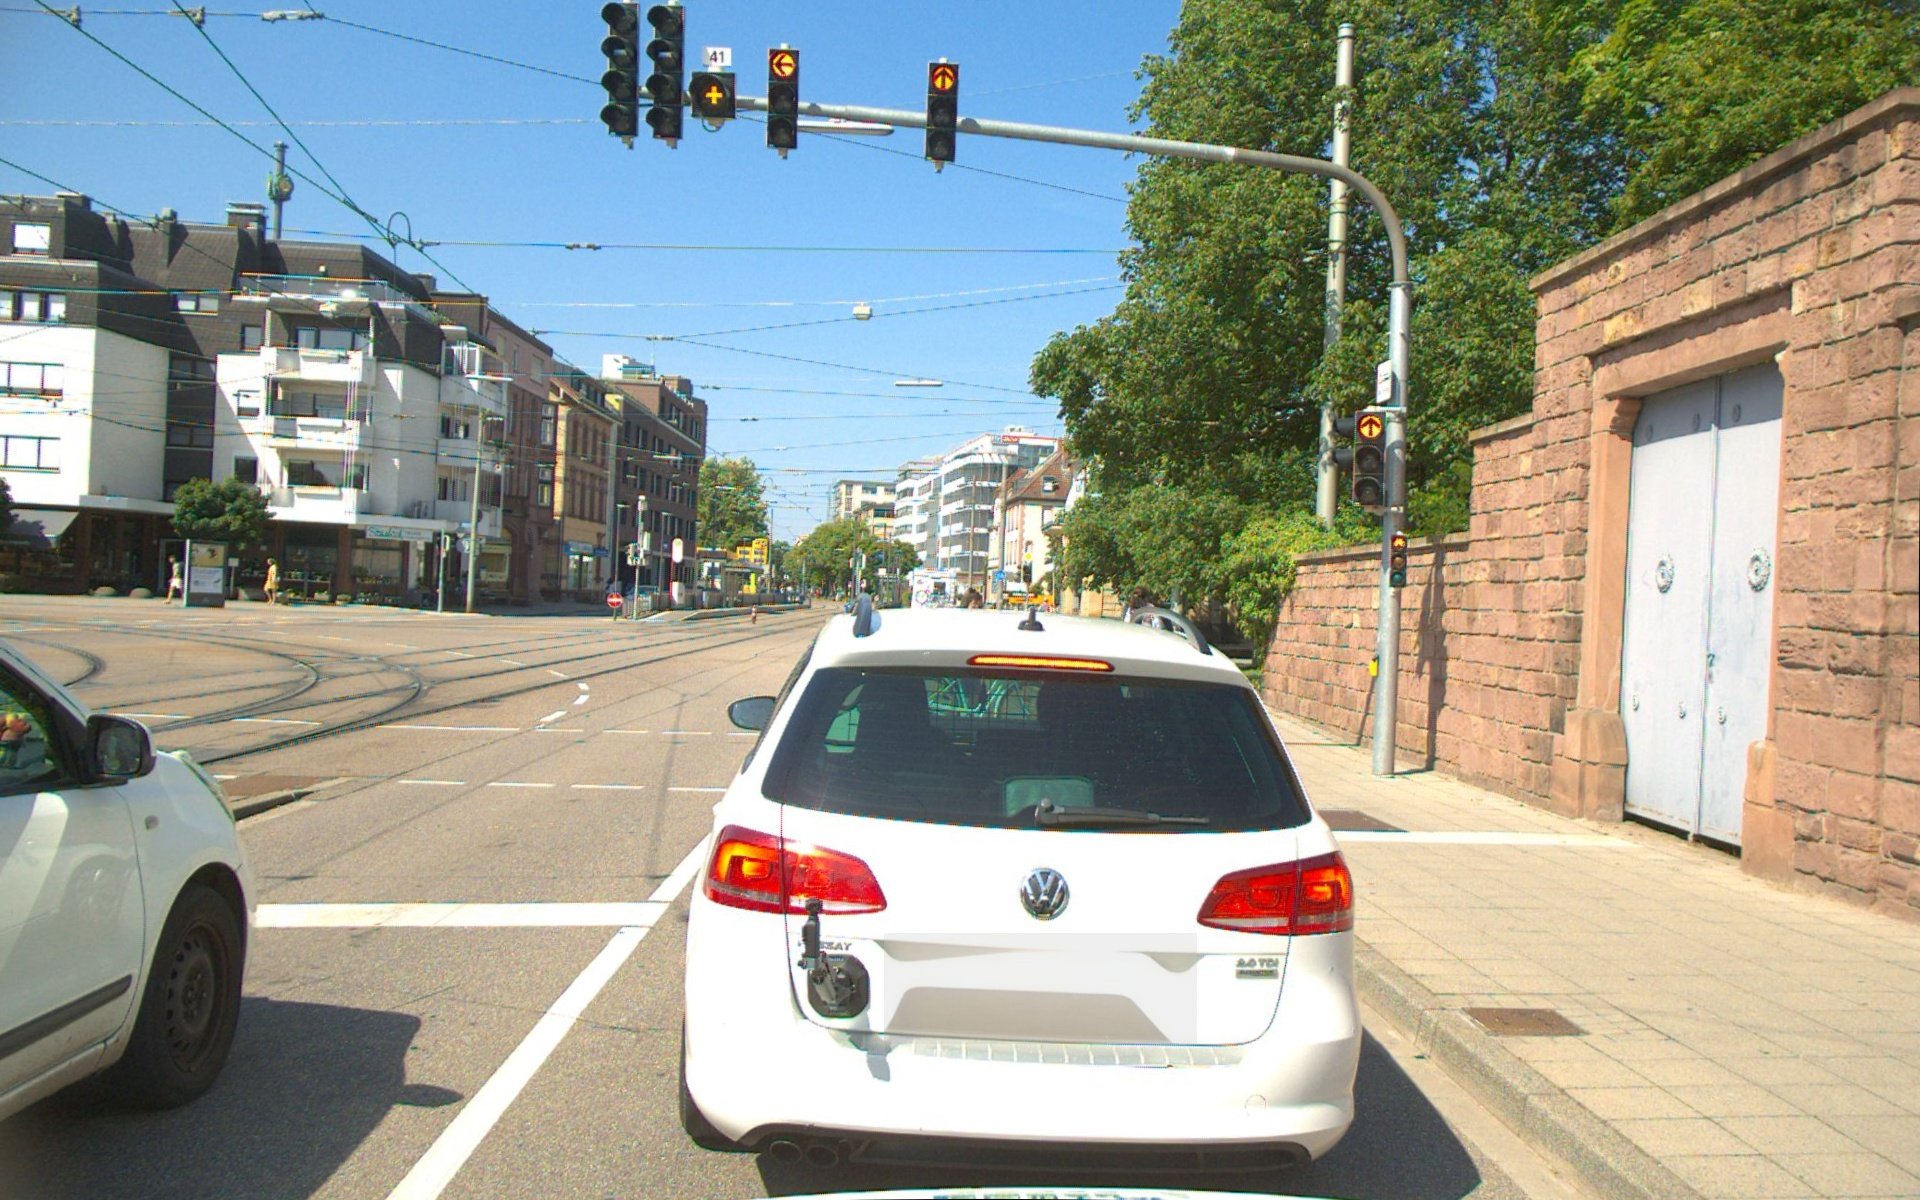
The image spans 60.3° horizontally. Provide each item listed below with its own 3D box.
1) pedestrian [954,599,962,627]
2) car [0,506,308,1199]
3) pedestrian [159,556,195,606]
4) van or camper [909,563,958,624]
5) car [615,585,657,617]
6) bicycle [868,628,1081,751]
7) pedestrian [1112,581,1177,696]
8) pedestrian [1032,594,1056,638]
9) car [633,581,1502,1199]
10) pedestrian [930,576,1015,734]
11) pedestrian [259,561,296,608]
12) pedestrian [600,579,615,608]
[{"bbox_3d":[-0.141,1.085,141.209,0.675,2.366,1.232,0,-1,0],"label":"pedestrian"},{"bbox_3d":[-2.839,0.591,3.311,1.608,1.593,3.803,1,1,-1],"label":"car"},{"bbox_3d":[-28.344,-0.666,59.884,0.967,1.773,0.850,1,-1,-44],"label":"pedestrian"},{"bbox_3d":[-1.465,-0.291,89.166,2.515,3.147,5.700,0,-1,-2],"label":"van or camper"},{"bbox_3d":[-17.621,0.078,90.102,1.706,1.646,3.996,0,-1,-4],"label":"car"},{"bbox_3d":[0.137,0.893,16.640,1.986,1.109,0.707,3,-1,-15],"label":"bicycle"},{"bbox_3d":[2.748,0.564,24.745,0.933,1.680,0.975,0,-1,4],"label":"pedestrian"},{"bbox_3d":[3.370,0.648,66.303,0.844,1.773,0.974,0,-1,-3],"label":"pedestrian"},{"bbox_3d":[0.190,0.716,5.428,1.771,1.473,3.999,2,0,-1],"label":"car"},{"bbox_3d":[0.121,0.557,17.203,0.733,1.599,0.673,1,1,-13],"label":"pedestrian"},{"bbox_3d":[-26.425,-0.591,64.045,0.844,1.773,0.974,0,-1,26],"label":"pedestrian"},{"bbox_3d":[-22.127,-0.424,103.843,0.845,1.773,0.973,1,-1,-6],"label":"pedestrian"}]
